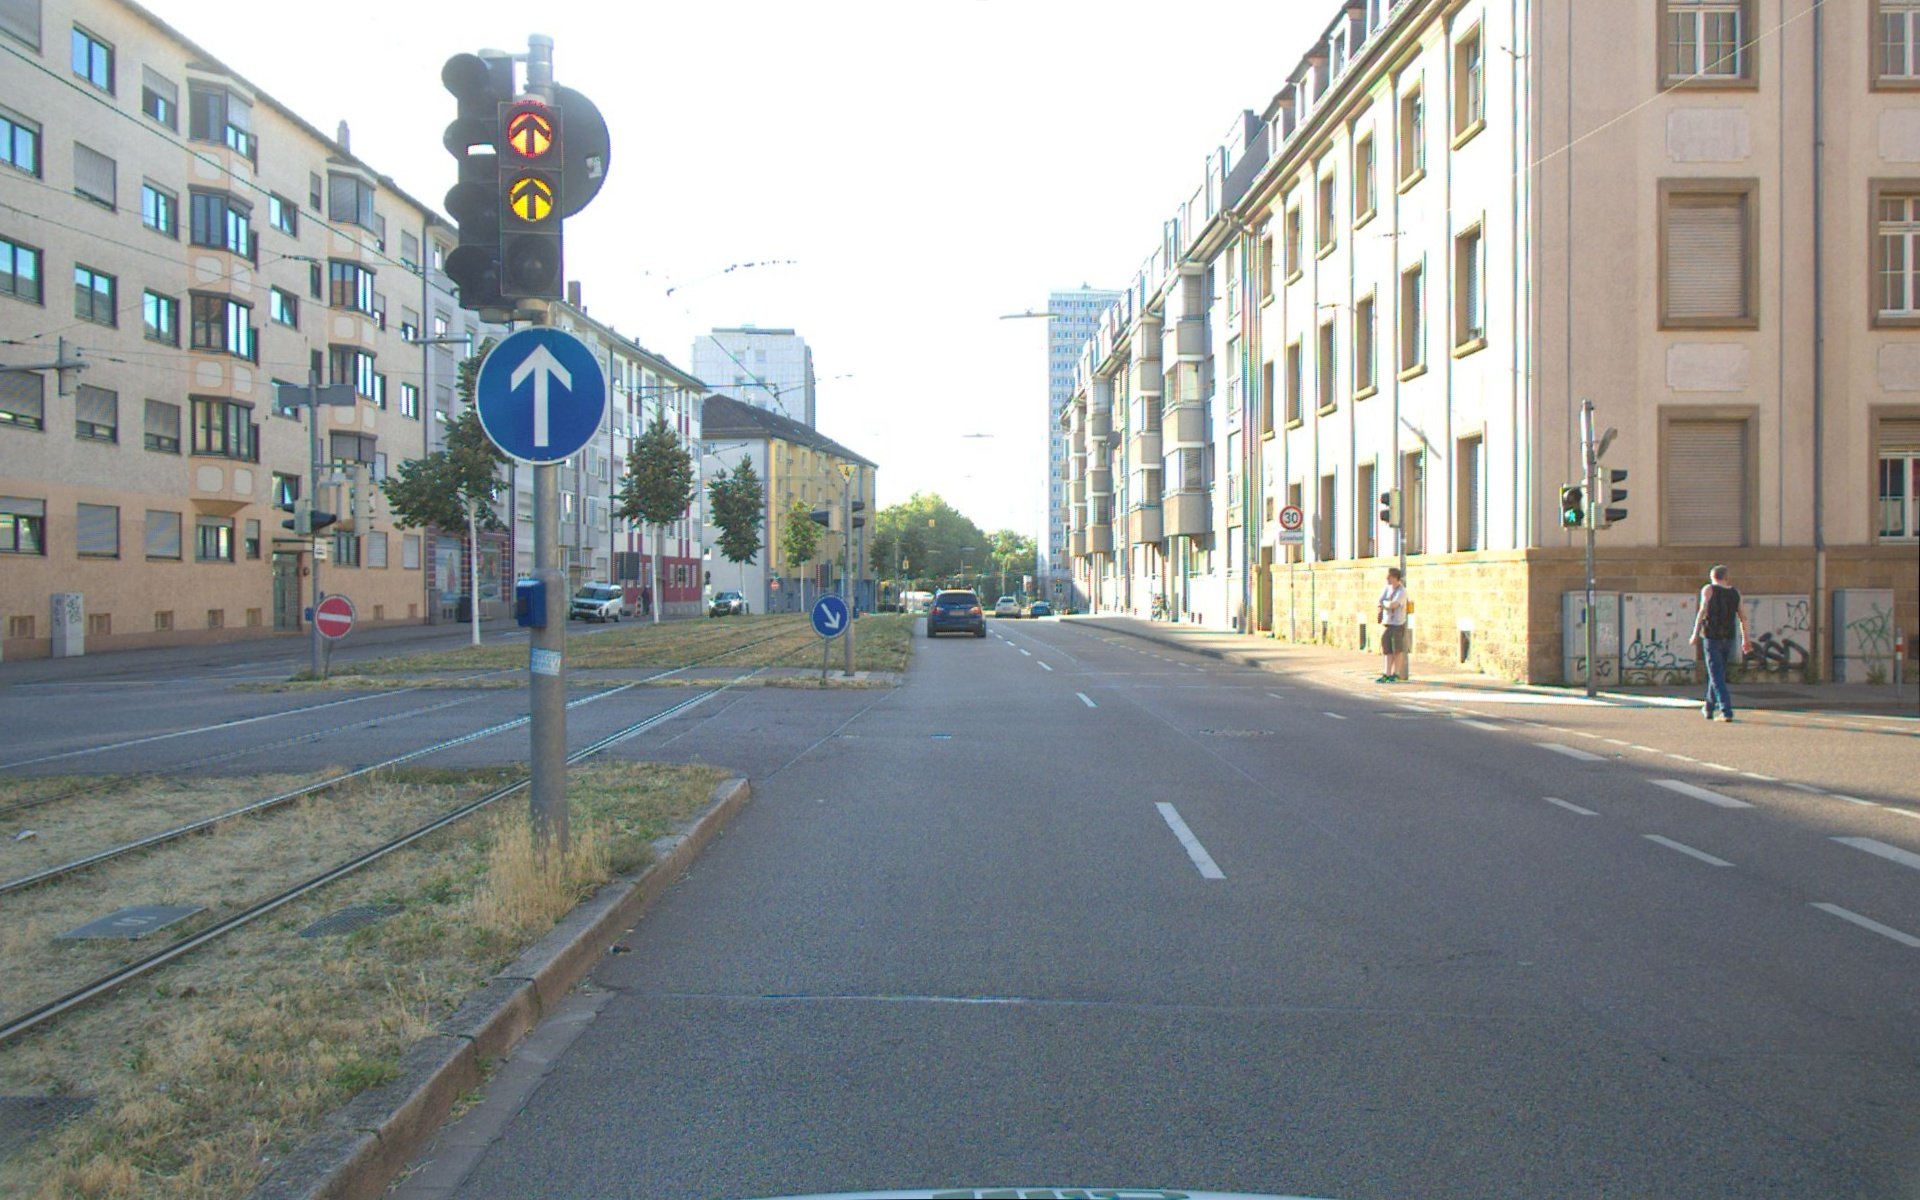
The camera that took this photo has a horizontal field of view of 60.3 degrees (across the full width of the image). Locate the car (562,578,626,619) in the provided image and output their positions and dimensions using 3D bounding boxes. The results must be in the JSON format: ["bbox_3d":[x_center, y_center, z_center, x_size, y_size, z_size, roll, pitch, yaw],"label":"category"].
[{"bbox_3d":[-17.941,-0.064,81.284,1.952,1.958,4.543,1,0,3],"label":"car"}]

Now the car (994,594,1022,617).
[{"bbox_3d":[3.432,0.366,118.697,1.952,1.591,4.000,1,0,0],"label":"car"}]

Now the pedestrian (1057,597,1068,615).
[{"bbox_3d":[7.069,0.427,114.250,0.677,1.256,0.736,1,0,-1],"label":"pedestrian"}]

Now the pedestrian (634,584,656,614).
[{"bbox_3d":[-19.110,-0.057,100.246,1.246,1.791,1.271,1,0,-10],"label":"pedestrian"}]

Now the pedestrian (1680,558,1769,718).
[{"bbox_3d":[8.786,0.427,19.039,0.616,1.789,0.825,1,-1,-1],"label":"pedestrian"}]

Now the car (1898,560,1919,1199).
[{"bbox_3d":[2.867,0.731,1.430,1.663,1.580,4.225,1,0,-1],"label":"car"}]

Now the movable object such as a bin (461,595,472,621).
[{"bbox_3d":[-20.256,0.341,67.846,0.292,1.054,0.441,1,-1,-1],"label":"movable object such as a bin"}]

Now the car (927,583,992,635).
[{"bbox_3d":[-0.042,0.279,50.477,1.887,1.481,4.326,1,0,-1],"label":"car"}]

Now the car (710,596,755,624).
[{"bbox_3d":[-13.835,0.599,100.680,1.857,1.662,4.749,-1,0,3],"label":"car"}]

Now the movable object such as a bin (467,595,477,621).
[{"bbox_3d":[-20.226,0.332,68.520,0.292,1.054,0.441,1,-1,-2],"label":"movable object such as a bin"}]

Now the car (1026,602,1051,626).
[{"bbox_3d":[6.974,1.206,148.038,1.953,2.049,3.999,-1,0,-1],"label":"car"}]

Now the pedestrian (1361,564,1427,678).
[{"bbox_3d":[6.955,0.335,26.549,0.818,1.793,0.824,1,-1,-1],"label":"pedestrian"}]
